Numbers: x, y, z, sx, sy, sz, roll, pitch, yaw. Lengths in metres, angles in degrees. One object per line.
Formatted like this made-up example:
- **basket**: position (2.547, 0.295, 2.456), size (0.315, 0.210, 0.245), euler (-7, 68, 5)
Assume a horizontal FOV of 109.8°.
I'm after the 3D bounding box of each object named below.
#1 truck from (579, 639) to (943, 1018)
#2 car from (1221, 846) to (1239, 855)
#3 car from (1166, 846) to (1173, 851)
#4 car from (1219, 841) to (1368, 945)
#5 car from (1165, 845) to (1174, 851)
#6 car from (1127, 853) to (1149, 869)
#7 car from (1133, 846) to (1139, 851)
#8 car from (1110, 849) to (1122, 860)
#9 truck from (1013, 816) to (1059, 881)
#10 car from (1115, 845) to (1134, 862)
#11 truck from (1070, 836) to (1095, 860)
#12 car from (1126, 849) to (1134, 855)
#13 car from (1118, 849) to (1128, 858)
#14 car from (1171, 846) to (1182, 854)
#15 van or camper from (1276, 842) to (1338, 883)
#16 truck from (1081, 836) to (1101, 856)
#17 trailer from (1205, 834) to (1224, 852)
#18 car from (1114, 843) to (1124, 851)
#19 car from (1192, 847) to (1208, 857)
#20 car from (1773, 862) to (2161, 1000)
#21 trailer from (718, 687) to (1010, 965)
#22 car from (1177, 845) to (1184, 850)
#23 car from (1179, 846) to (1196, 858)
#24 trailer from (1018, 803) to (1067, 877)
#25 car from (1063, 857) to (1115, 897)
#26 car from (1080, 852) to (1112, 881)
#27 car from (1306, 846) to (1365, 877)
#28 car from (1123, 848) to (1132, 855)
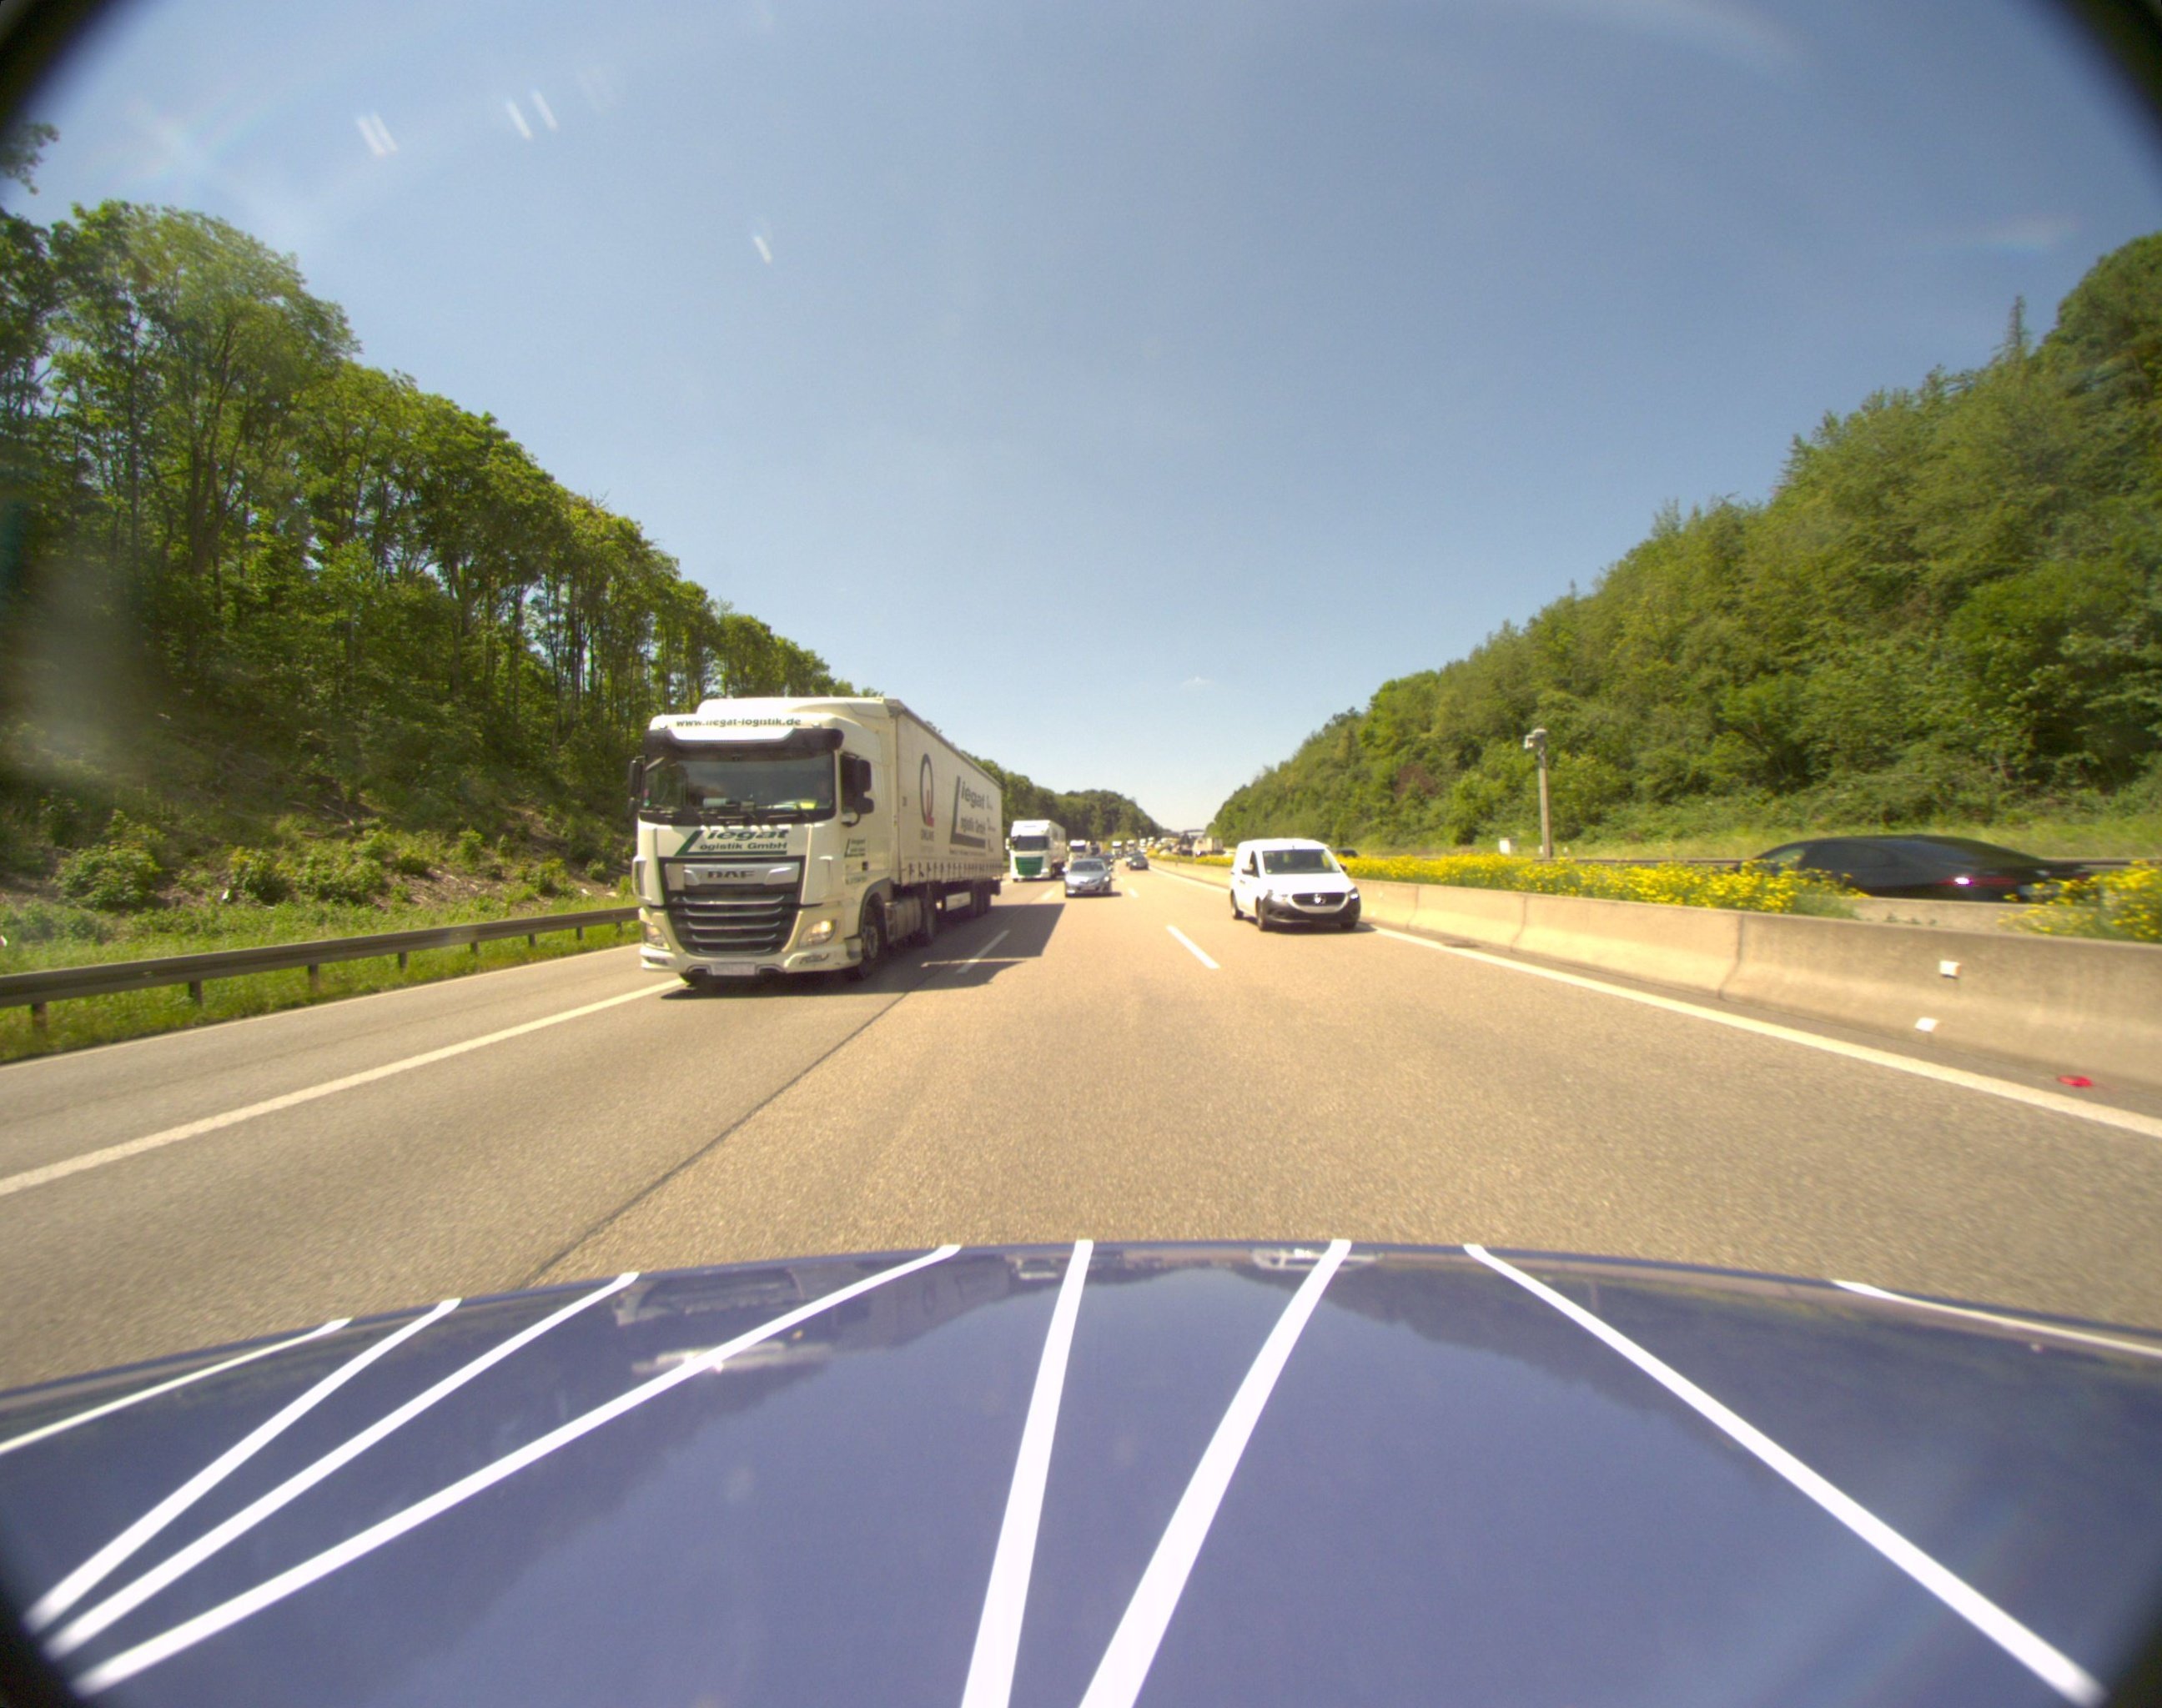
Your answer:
- **truck**: position (-4.153, -0.251, 11.515), size (2.792, 4.180, 5.870), euler (-2, 0, 1)
- **car**: position (23.029, -0.555, 117.457), size (1.998, 1.434, 4.171), euler (-2, 1, 1)
- **car**: position (27.943, -1.730, 240.051), size (1.998, 1.668, 4.081), euler (-1, 0, 3)
- **car**: position (4.212, 0.696, 15.874), size (1.769, 1.802, 4.674), euler (-2, 0, 0)
- **car**: position (21.465, -1.491, 185.107), size (1.998, 1.477, 4.000), euler (-2, 1, 4)
- **car**: position (5.549, 0.643, 74.312), size (1.720, 1.470, 4.000), euler (-2, 0, 0)
- **car**: position (18.654, -1.927, 256.424), size (1.997, 1.728, 4.001), euler (-2, 1, 6)
- **car**: position (6.105, 0.107, 131.917), size (1.998, 1.728, 4.000), euler (-2, 1, 4)
- **truck**: position (-2.944, -0.416, 51.347), size (2.542, 4.006, 6.624), euler (-2, 1, 1)
- **car**: position (5.400, -0.115, 94.921), size (1.999, 2.002, 3.999), euler (-2, 1, 0)
- **truck**: position (0.285, -0.895, 112.165), size (3.262, 3.337, 6.863), euler (-2, 1, 3)
- **car**: position (14.181, -0.590, 219.025), size (1.997, 1.728, 4.001), euler (-2, 1, 6)
- **car**: position (9.100, -0.121, 162.698), size (1.998, 1.728, 4.000), euler (-2, 1, 4)
- **car**: position (18.791, -0.822, 149.497), size (1.998, 1.477, 4.000), euler (-2, 1, 4)
- **van or camper**: position (11.903, 0.374, 40.399), size (1.887, 2.002, 4.587), euler (-2, 1, 0)
- **truck**: position (2.085, -1.570, 150.449), size (3.557, 3.695, 7.551), euler (-2, 1, 4)
- **trailer**: position (31.647, -2.665, 180.930), size (2.721, 4.183, 13.933), euler (-2, 1, 3)
- **car**: position (11.807, -2.150, 233.929), size (2.697, 2.467, 6.586), euler (-2, 1, 6)
- **car**: position (19.266, -0.317, 123.031), size (1.998, 1.477, 4.000), euler (-2, 1, 2)
- **car**: position (12.320, 0.910, 10.635), size (1.813, 1.477, 3.856), euler (-2, 0, 2)
- **trailer**: position (-3.970, -0.367, 18.323), size (2.792, 4.180, 13.245), euler (-2, -1, 1)
- **car**: position (32.221, -2.098, 246.852), size (1.953, 1.632, 3.981), euler (-1, 0, 3)
- **car**: position (14.947, -0.299, 106.822), size (1.998, 1.464, 4.874), euler (-2, 1, 4)
- **trailer**: position (-2.783, -1.106, 59.732), size (2.574, 5.011, 15.270), euler (-2, 1, 1)
- **car**: position (0.385, 0.878, 31.192), size (1.887, 1.458, 4.248), euler (-2, 0, 3)
- **car**: position (0.978, 0.742, 47.706), size (1.887, 1.696, 4.085), euler (-2, 0, 3)
- **car**: position (14.972, 0.404, 44.932), size (1.998, 1.681, 4.400), euler (-2, 1, 0)
- **car**: position (11.742, -0.687, 192.166), size (1.997, 1.728, 4.001), euler (-2, 1, 6)
